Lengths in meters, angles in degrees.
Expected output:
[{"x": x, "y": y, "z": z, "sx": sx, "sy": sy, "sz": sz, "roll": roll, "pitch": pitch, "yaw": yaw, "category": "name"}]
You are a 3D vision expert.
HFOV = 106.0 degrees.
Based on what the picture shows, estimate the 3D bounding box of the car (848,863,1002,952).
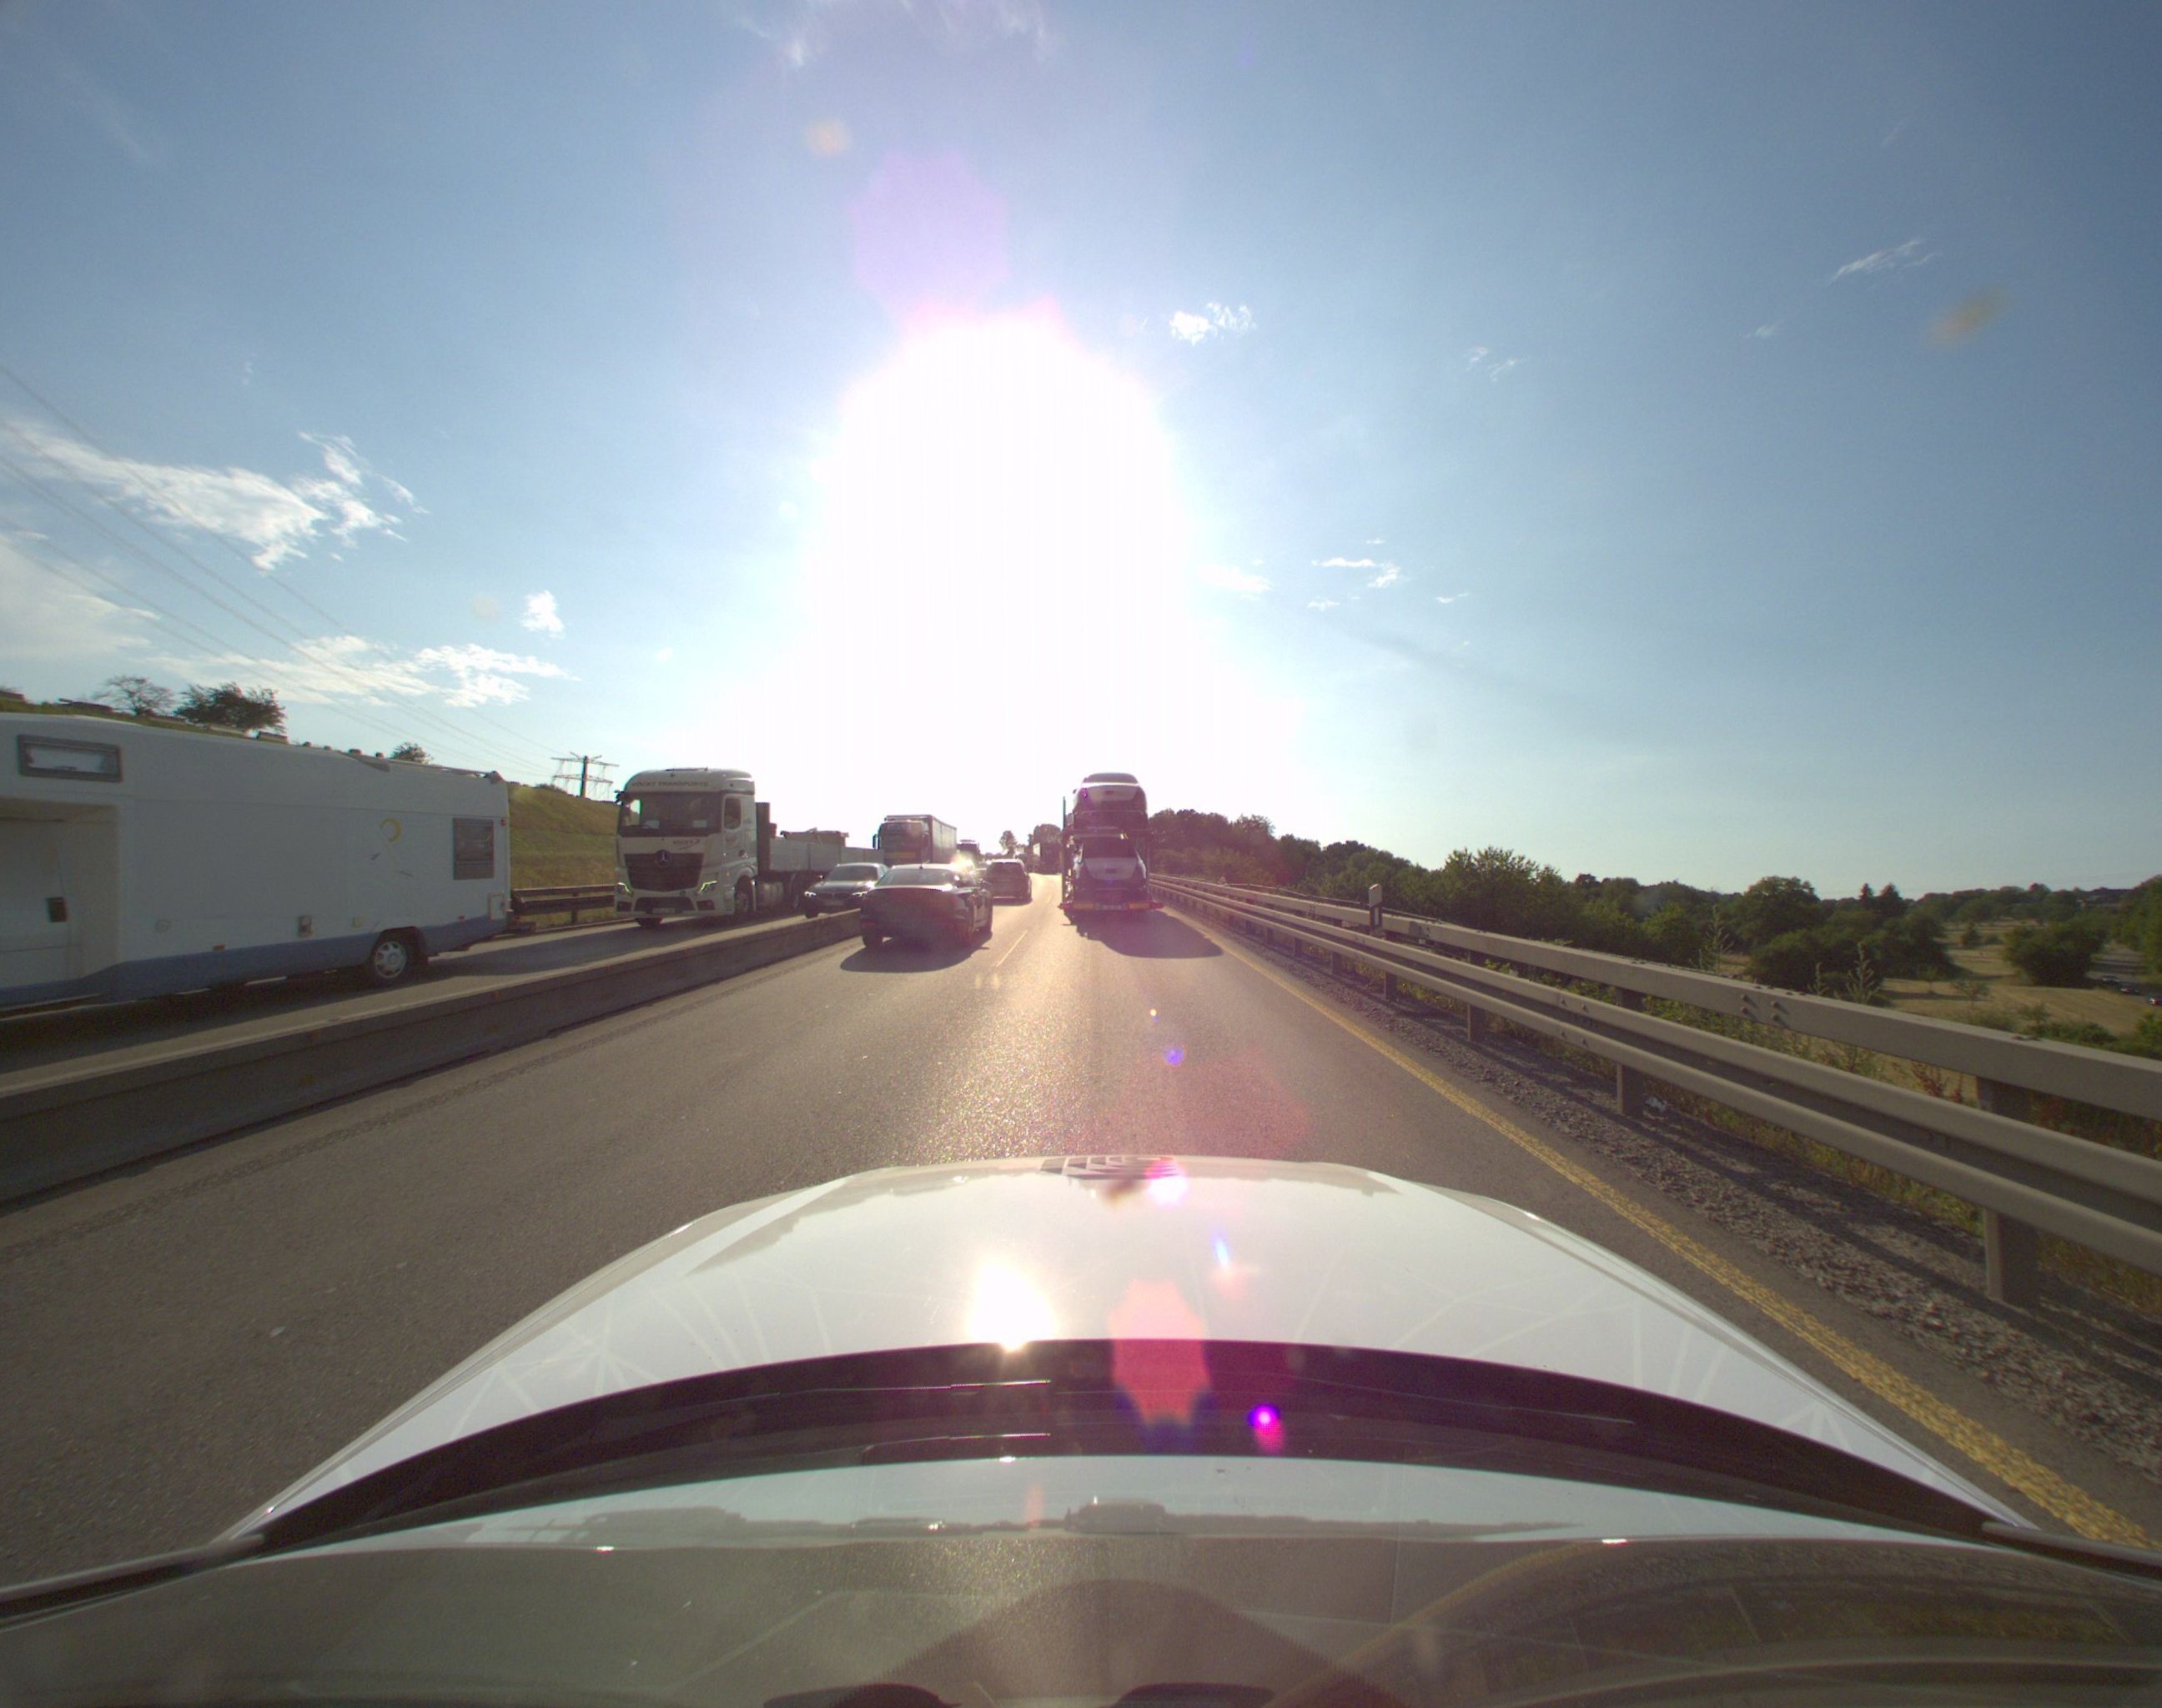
[{"x": -2.768, "y": 0.890, "z": 15.670, "sx": 1.928, "sy": 1.399, "sz": 4.961, "roll": 0, "pitch": 0, "yaw": 1, "category": "car"}]

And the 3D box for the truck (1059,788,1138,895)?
[{"x": 0.491, "y": -0.387, "z": 34.265, "sx": 2.830, "sy": 3.792, "sz": 9.979, "roll": -1, "pitch": -1, "yaw": -2, "category": "truck"}]

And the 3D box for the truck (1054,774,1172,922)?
[{"x": 0.702, "y": -0.075, "z": 24.741, "sx": 2.791, "sy": 3.497, "sz": 10.600, "roll": -1, "pitch": -1, "yaw": -1, "category": "truck"}]

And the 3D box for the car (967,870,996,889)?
[{"x": -7.832, "y": 2.012, "z": 64.621, "sx": 1.754, "sy": 1.378, "sz": 4.765, "roll": -1, "pitch": -1, "yaw": -1, "category": "car"}]

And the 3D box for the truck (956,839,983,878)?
[{"x": -12.176, "y": 0.493, "z": 89.180, "sx": 2.499, "sy": 4.066, "sz": 5.874, "roll": -1, "pitch": -1, "yaw": -4, "category": "truck"}]

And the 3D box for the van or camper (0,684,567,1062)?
[{"x": -9.442, "y": 0.197, "z": 9.207, "sx": 2.400, "sy": 2.891, "sz": 7.617, "roll": -1, "pitch": -1, "yaw": 0, "category": "van or camper"}]

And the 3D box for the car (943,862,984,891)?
[{"x": -6.429, "y": 1.224, "z": 44.874, "sx": 1.754, "sy": 1.508, "sz": 4.251, "roll": -1, "pitch": -1, "yaw": -2, "category": "car"}]

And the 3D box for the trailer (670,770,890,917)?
[{"x": -9.277, "y": -0.180, "z": 27.653, "sx": 2.512, "sy": 3.725, "sz": 13.970, "roll": -1, "pitch": -1, "yaw": -1, "category": "trailer"}]

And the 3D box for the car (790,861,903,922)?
[{"x": -6.318, "y": 0.963, "z": 22.517, "sx": 1.788, "sy": 1.511, "sz": 4.584, "roll": -1, "pitch": -1, "yaw": 0, "category": "car"}]

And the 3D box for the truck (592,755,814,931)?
[{"x": -9.164, "y": -0.201, "z": 20.708, "sx": 2.592, "sy": 3.754, "sz": 6.515, "roll": -1, "pitch": -1, "yaw": 0, "category": "truck"}]

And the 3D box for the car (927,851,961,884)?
[{"x": -11.109, "y": 1.070, "z": 66.237, "sx": 2.153, "sy": 2.558, "sz": 5.580, "roll": -1, "pitch": -1, "yaw": -4, "category": "car"}]

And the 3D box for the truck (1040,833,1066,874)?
[{"x": -3.893, "y": 0.017, "z": 110.222, "sx": 3.278, "sy": 5.237, "sz": 9.924, "roll": -1, "pitch": -1, "yaw": -3, "category": "truck"}]

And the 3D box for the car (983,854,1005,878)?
[{"x": -9.161, "y": 1.262, "z": 86.545, "sx": 2.053, "sy": 2.500, "sz": 6.765, "roll": -1, "pitch": -1, "yaw": -4, "category": "car"}]

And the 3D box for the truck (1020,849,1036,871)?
[{"x": -9.091, "y": 0.985, "z": 140.398, "sx": 2.525, "sy": 3.648, "sz": 8.895, "roll": -1, "pitch": -1, "yaw": -3, "category": "truck"}]

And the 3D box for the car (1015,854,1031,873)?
[{"x": -7.618, "y": 1.276, "z": 106.916, "sx": 1.916, "sy": 2.493, "sz": 5.402, "roll": -1, "pitch": -1, "yaw": -3, "category": "car"}]

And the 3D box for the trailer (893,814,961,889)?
[{"x": -9.642, "y": -0.045, "z": 52.568, "sx": 2.301, "sy": 4.130, "sz": 14.584, "roll": -1, "pitch": -1, "yaw": -3, "category": "trailer"}]

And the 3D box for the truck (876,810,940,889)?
[{"x": -9.411, "y": -0.198, "z": 44.795, "sx": 2.497, "sy": 4.066, "sz": 5.659, "roll": -1, "pitch": -1, "yaw": -3, "category": "truck"}]

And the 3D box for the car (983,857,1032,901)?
[{"x": -2.772, "y": 0.938, "z": 31.483, "sx": 1.687, "sy": 1.596, "sz": 3.996, "roll": -1, "pitch": -1, "yaw": -2, "category": "car"}]

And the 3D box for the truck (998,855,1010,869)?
[{"x": -17.810, "y": 1.895, "z": 189.562, "sx": 2.586, "sy": 3.170, "sz": 6.666, "roll": -1, "pitch": -1, "yaw": -4, "category": "truck"}]
